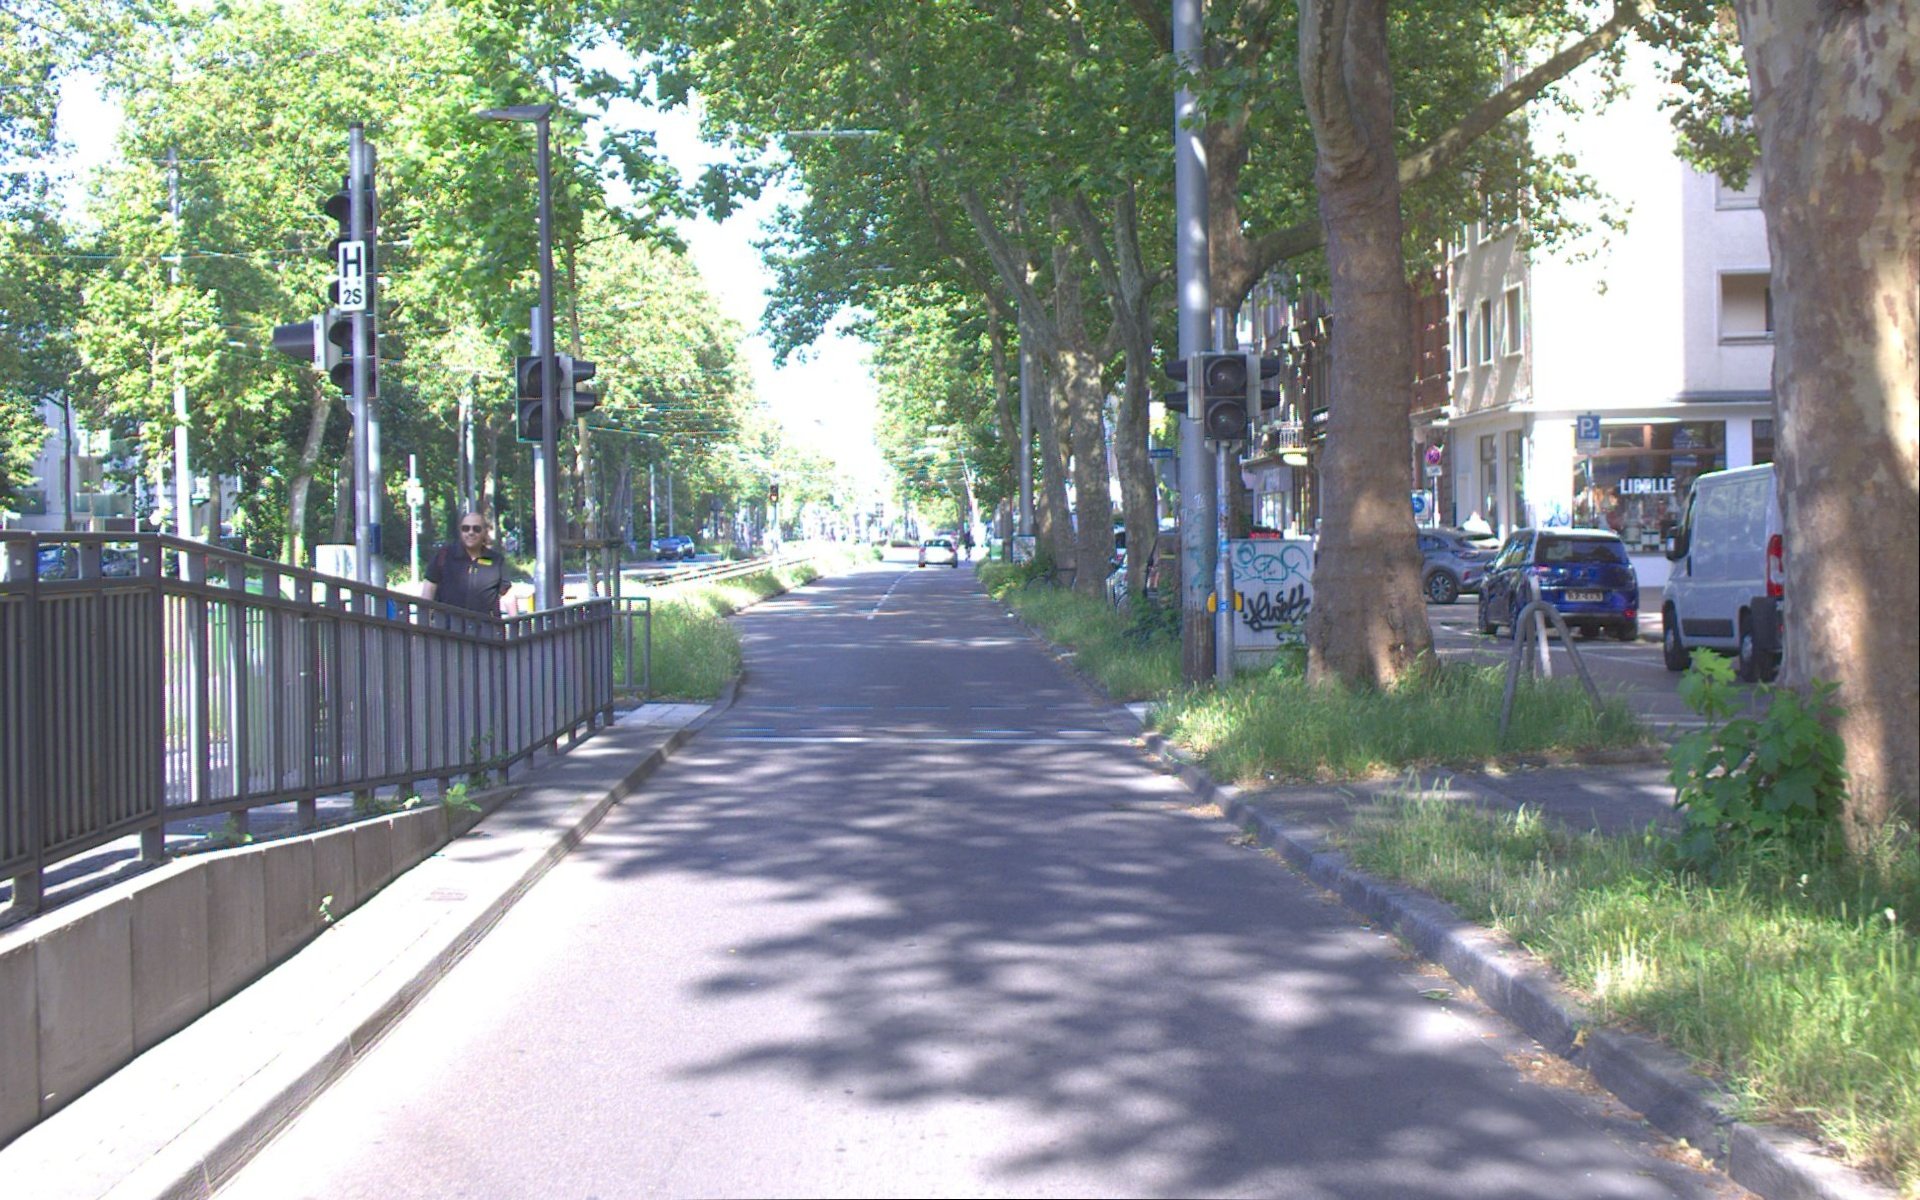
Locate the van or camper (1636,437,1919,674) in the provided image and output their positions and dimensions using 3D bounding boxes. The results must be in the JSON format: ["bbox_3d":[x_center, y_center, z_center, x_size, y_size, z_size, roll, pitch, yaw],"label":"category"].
[{"bbox_3d":[8.858,-0.485,36.085,2.291,2.279,5.823,0,1,-1],"label":"van or camper"}]

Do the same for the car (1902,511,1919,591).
[{"bbox_3d":[21.231,-0.996,68.793,4.589,1.575,1.999,0,1,15],"label":"car"}]

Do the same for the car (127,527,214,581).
[{"bbox_3d":[-27.755,-1.651,120.925,2.108,1.802,4.739,-1,2,-2],"label":"car"}]

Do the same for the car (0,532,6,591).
[{"bbox_3d":[-27.715,-1.004,93.787,1.993,1.644,4.827,-1,2,0],"label":"car"}]

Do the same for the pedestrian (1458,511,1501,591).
[{"bbox_3d":[11.227,-1.064,74.268,0.795,1.698,0.724,-1,1,0],"label":"pedestrian"}]

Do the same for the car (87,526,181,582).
[{"bbox_3d":[-27.713,-1.575,115.508,2.109,1.802,4.739,-1,2,-1],"label":"car"}]

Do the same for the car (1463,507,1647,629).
[{"bbox_3d":[8.866,-0.510,51.627,1.819,1.736,5.168,-1,1,0],"label":"car"}]

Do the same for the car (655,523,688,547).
[{"bbox_3d":[-19.967,-4.512,238.171,1.795,1.503,4.339,-3,1,1],"label":"car"}]

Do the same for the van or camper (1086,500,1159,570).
[{"bbox_3d":[5.086,-2.036,108.243,1.833,2.090,4.775,2,1,-2],"label":"van or camper"}]

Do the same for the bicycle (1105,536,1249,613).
[{"bbox_3d":[3.214,-0.386,51.052,2.070,1.120,0.677,0,1,-1],"label":"bicycle"}]

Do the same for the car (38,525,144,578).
[{"bbox_3d":[-27.761,-1.553,109.930,1.994,1.610,4.420,-1,2,4],"label":"car"}]

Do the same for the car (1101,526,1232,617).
[{"bbox_3d":[3.266,-0.488,55.268,1.753,1.393,5.026,0,1,-1],"label":"car"}]

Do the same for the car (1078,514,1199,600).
[{"bbox_3d":[3.511,-0.886,68.431,1.902,1.630,4.825,-1,1,-3],"label":"car"}]

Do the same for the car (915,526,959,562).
[{"bbox_3d":[-1.087,-2.612,160.622,2.021,1.656,4.000,0,1,-1],"label":"car"}]

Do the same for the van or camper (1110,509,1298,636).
[{"bbox_3d":[3.146,-0.375,44.720,1.500,1.582,2.841,-1,1,-17],"label":"van or camper"}]

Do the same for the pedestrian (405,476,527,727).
[{"bbox_3d":[-3.359,0.003,23.427,0.712,1.674,0.772,-1,1,-2],"label":"pedestrian"}]

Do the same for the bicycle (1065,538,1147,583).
[{"bbox_3d":[3.072,-0.834,72.328,1.759,0.924,0.654,-2,1,-41],"label":"bicycle"}]
